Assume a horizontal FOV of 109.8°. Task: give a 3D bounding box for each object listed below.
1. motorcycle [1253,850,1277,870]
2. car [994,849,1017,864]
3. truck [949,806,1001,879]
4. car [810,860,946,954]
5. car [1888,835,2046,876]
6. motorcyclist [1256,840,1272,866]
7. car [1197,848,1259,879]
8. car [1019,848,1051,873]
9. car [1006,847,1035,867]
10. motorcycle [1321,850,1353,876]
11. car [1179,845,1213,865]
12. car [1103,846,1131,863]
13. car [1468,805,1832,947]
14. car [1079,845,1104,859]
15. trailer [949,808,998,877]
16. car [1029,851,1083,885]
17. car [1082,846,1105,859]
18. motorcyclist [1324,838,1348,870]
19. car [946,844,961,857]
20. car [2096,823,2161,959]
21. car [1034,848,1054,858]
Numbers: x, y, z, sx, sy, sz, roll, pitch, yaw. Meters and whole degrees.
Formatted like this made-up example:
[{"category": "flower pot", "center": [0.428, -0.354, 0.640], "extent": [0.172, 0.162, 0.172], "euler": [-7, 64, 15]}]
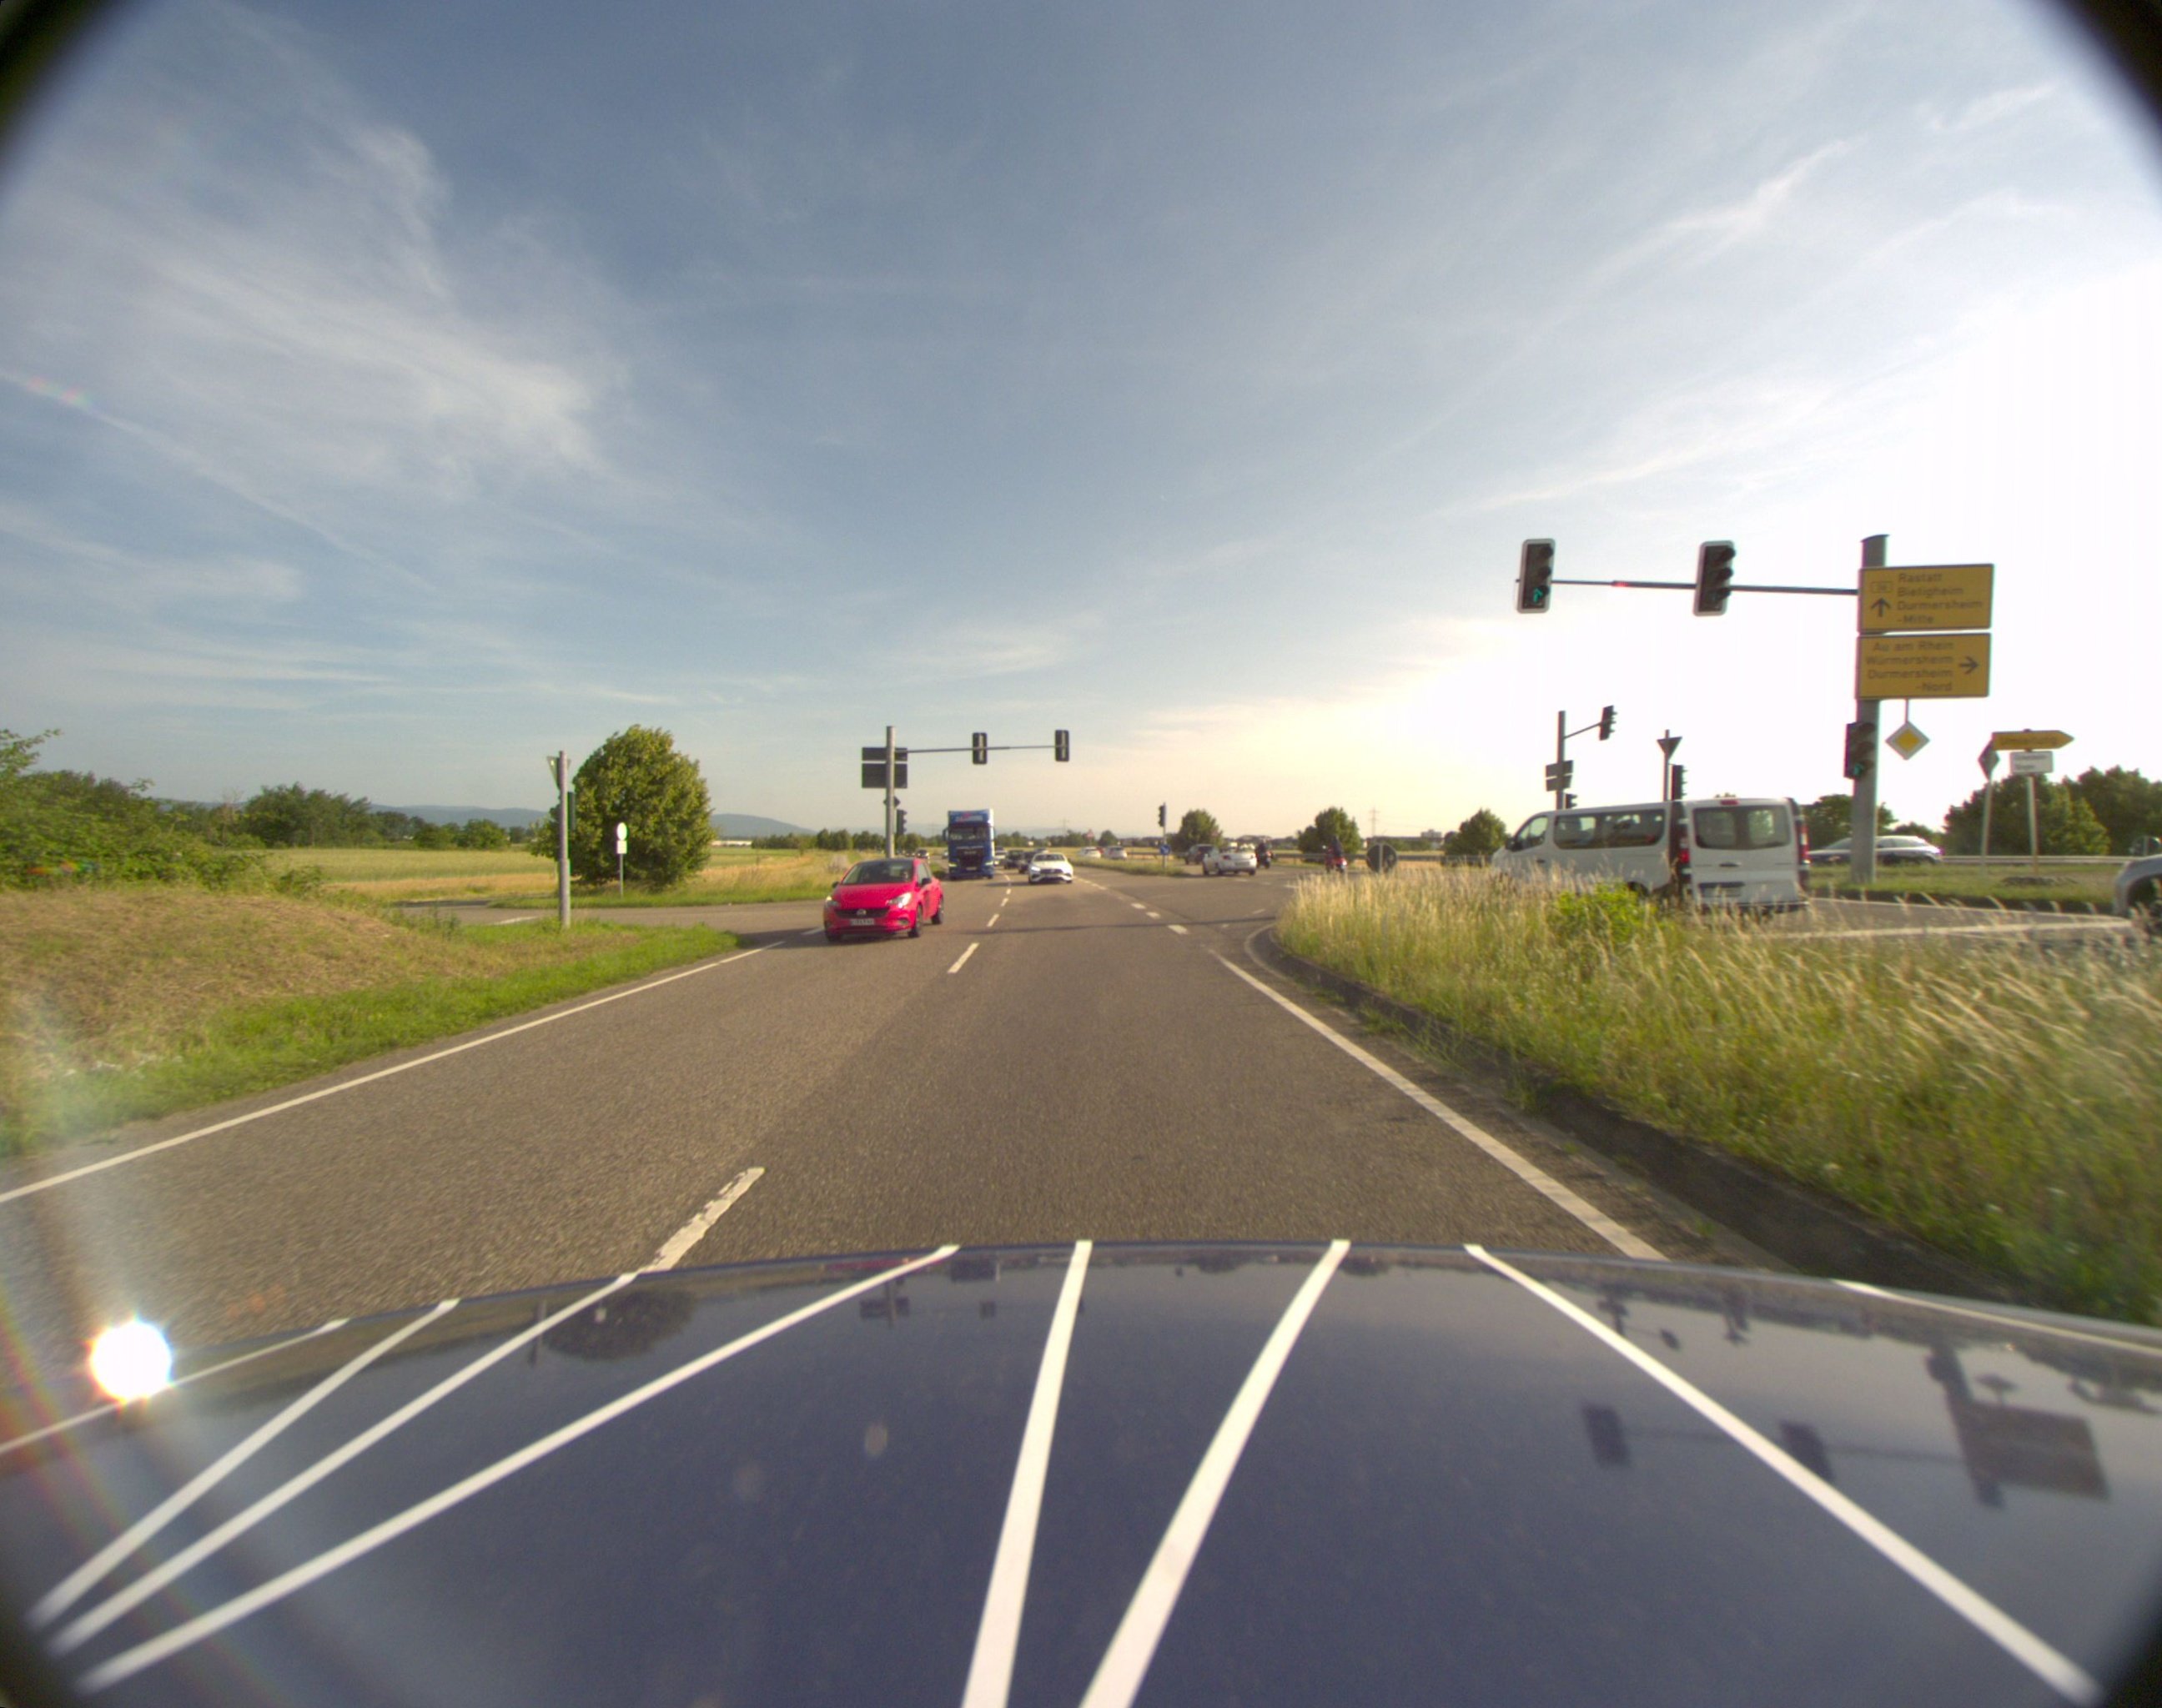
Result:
[{"category": "motorcycle", "center": [10.636, 0.324, 44.064], "extent": [0.703, 1.131, 2.277], "euler": [-1, 0, -3]}, {"category": "car", "center": [-7.216, 0.199, 72.581], "extent": [1.696, 1.406, 3.995], "euler": [-1, 1, -13]}, {"category": "truck", "center": [-6.246, -0.647, 44.235], "extent": [2.653, 3.897, 5.944], "euler": [-2, 1, -9]}, {"category": "car", "center": [-3.762, 0.906, 14.766], "extent": [1.666, 1.455, 3.953], "euler": [-1, 1, -2]}, {"category": "car", "center": [33.131, 0.044, 28.476], "extent": [3.999, 1.390, 1.958], "euler": [-1, 1, -7]}, {"category": "motorcyclist", "center": [10.604, -0.072, 44.027], "extent": [0.699, 1.494, 0.896], "euler": [-1, 1, -3]}, {"category": "car", "center": [6.980, 0.396, 36.580], "extent": [1.699, 1.345, 4.450], "euler": [-1, 1, -6]}, {"category": "car", "center": [-3.040, 0.378, 49.685], "extent": [1.753, 1.521, 3.996], "euler": [-1, 1, -9]}, {"category": "car", "center": [-4.915, 0.226, 61.250], "extent": [1.833, 1.521, 3.995], "euler": [-1, 1, -11]}, {"category": "motorcycle", "center": [11.883, 0.390, 35.380], "extent": [0.709, 1.152, 2.022], "euler": [-1, 1, -3]}, {"category": "car", "center": [8.512, 0.078, 56.389], "extent": [1.691, 1.404, 3.519], "euler": [-1, 1, -5]}, {"category": "car", "center": [3.221, 0.010, 69.436], "extent": [1.691, 1.514, 4.088], "euler": [-2, 1, -10]}, {"category": "car", "center": [9.206, 0.268, 13.208], "extent": [1.998, 1.893, 5.788], "euler": [-1, 1, 0]}, {"category": "car", "center": [1.104, -0.199, 79.566], "extent": [1.735, 1.405, 4.390], "euler": [-1, 1, -11]}, {"category": "trailer", "center": [-7.508, -0.753, 51.575], "extent": [2.653, 3.956, 13.916], "euler": [-2, 1, -10]}, {"category": "car", "center": [-1.204, 0.569, 34.039], "extent": [1.877, 1.390, 4.200], "euler": [-1, 1, -9]}, {"category": "car", "center": [1.428, -0.215, 90.996], "extent": [1.666, 1.458, 4.017], "euler": [-1, 1, -16]}, {"category": "motorcyclist", "center": [11.869, -0.021, 35.357], "extent": [0.706, 1.456, 1.020], "euler": [-1, 1, -3]}, {"category": "car", "center": [-20.333, -0.556, 120.834], "extent": [2.001, 1.871, 3.995], "euler": [-1, 1, -13]}, {"category": "car", "center": [12.911, 0.405, 6.941], "extent": [1.710, 1.516, 4.133], "euler": [-1, 1, -1]}, {"category": "car", "center": [-5.220, -0.162, 106.000], "extent": [1.934, 1.426, 4.694], "euler": [-1, 1, -14]}]
